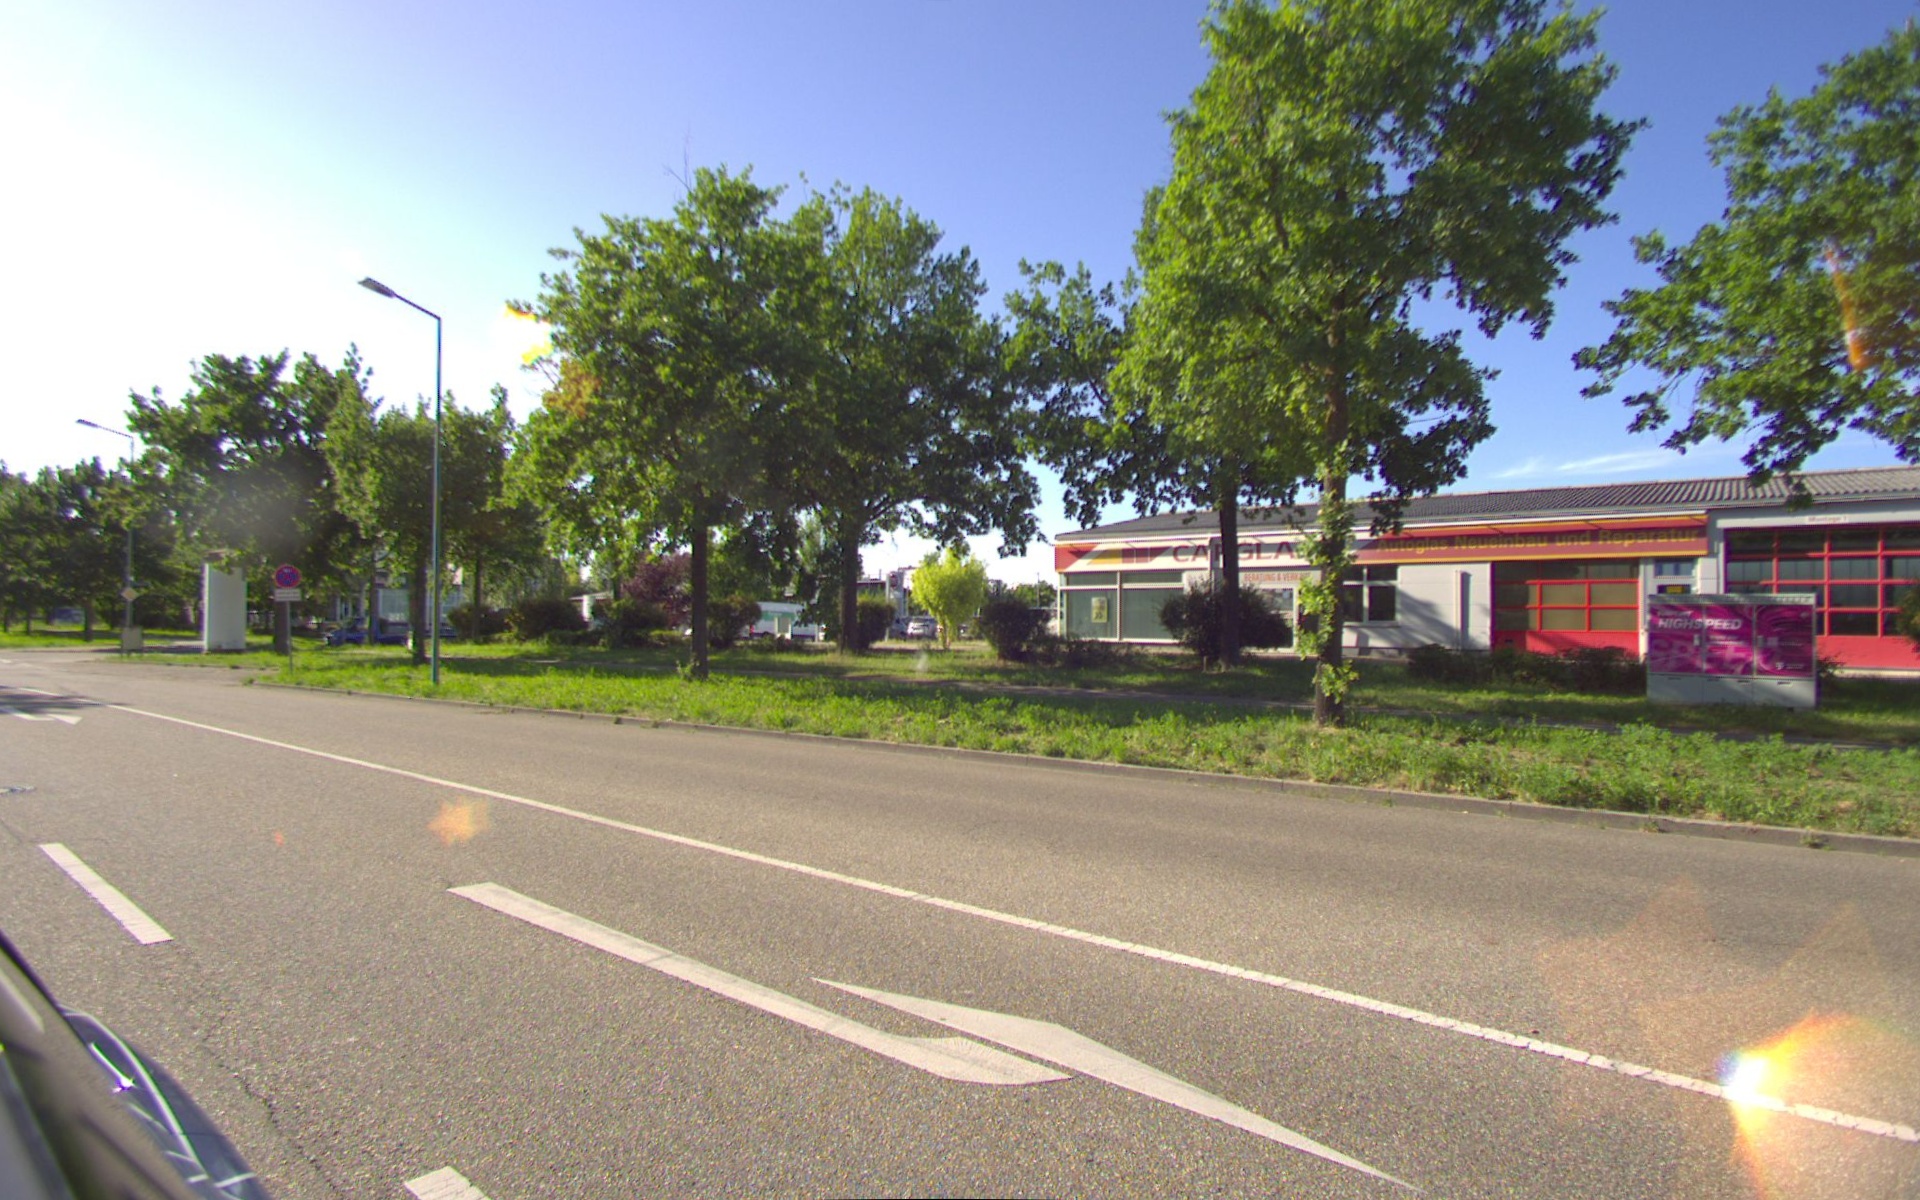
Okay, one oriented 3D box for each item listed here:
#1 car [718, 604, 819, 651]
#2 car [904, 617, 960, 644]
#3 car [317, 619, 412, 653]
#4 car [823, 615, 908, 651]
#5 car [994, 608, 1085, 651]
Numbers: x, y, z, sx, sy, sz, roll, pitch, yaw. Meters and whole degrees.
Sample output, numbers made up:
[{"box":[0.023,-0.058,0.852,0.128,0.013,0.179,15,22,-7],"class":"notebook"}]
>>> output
[{"box":[-11.451,1.599,61.002,2.406,2.574,5.952,-1,0,36],"class":"car"},{"box":[-1.869,2.052,68.624,1.761,1.684,3.811,-1,0,40],"class":"car"},{"box":[-35.969,2.155,61.238,1.999,1.847,4.578,-1,0,41],"class":"car"},{"box":[-5.144,1.768,55.791,1.989,1.795,4.583,-1,0,40],"class":"car"},{"box":[3.213,1.156,40.606,1.734,1.583,3.769,-3,-1,40],"class":"car"}]
